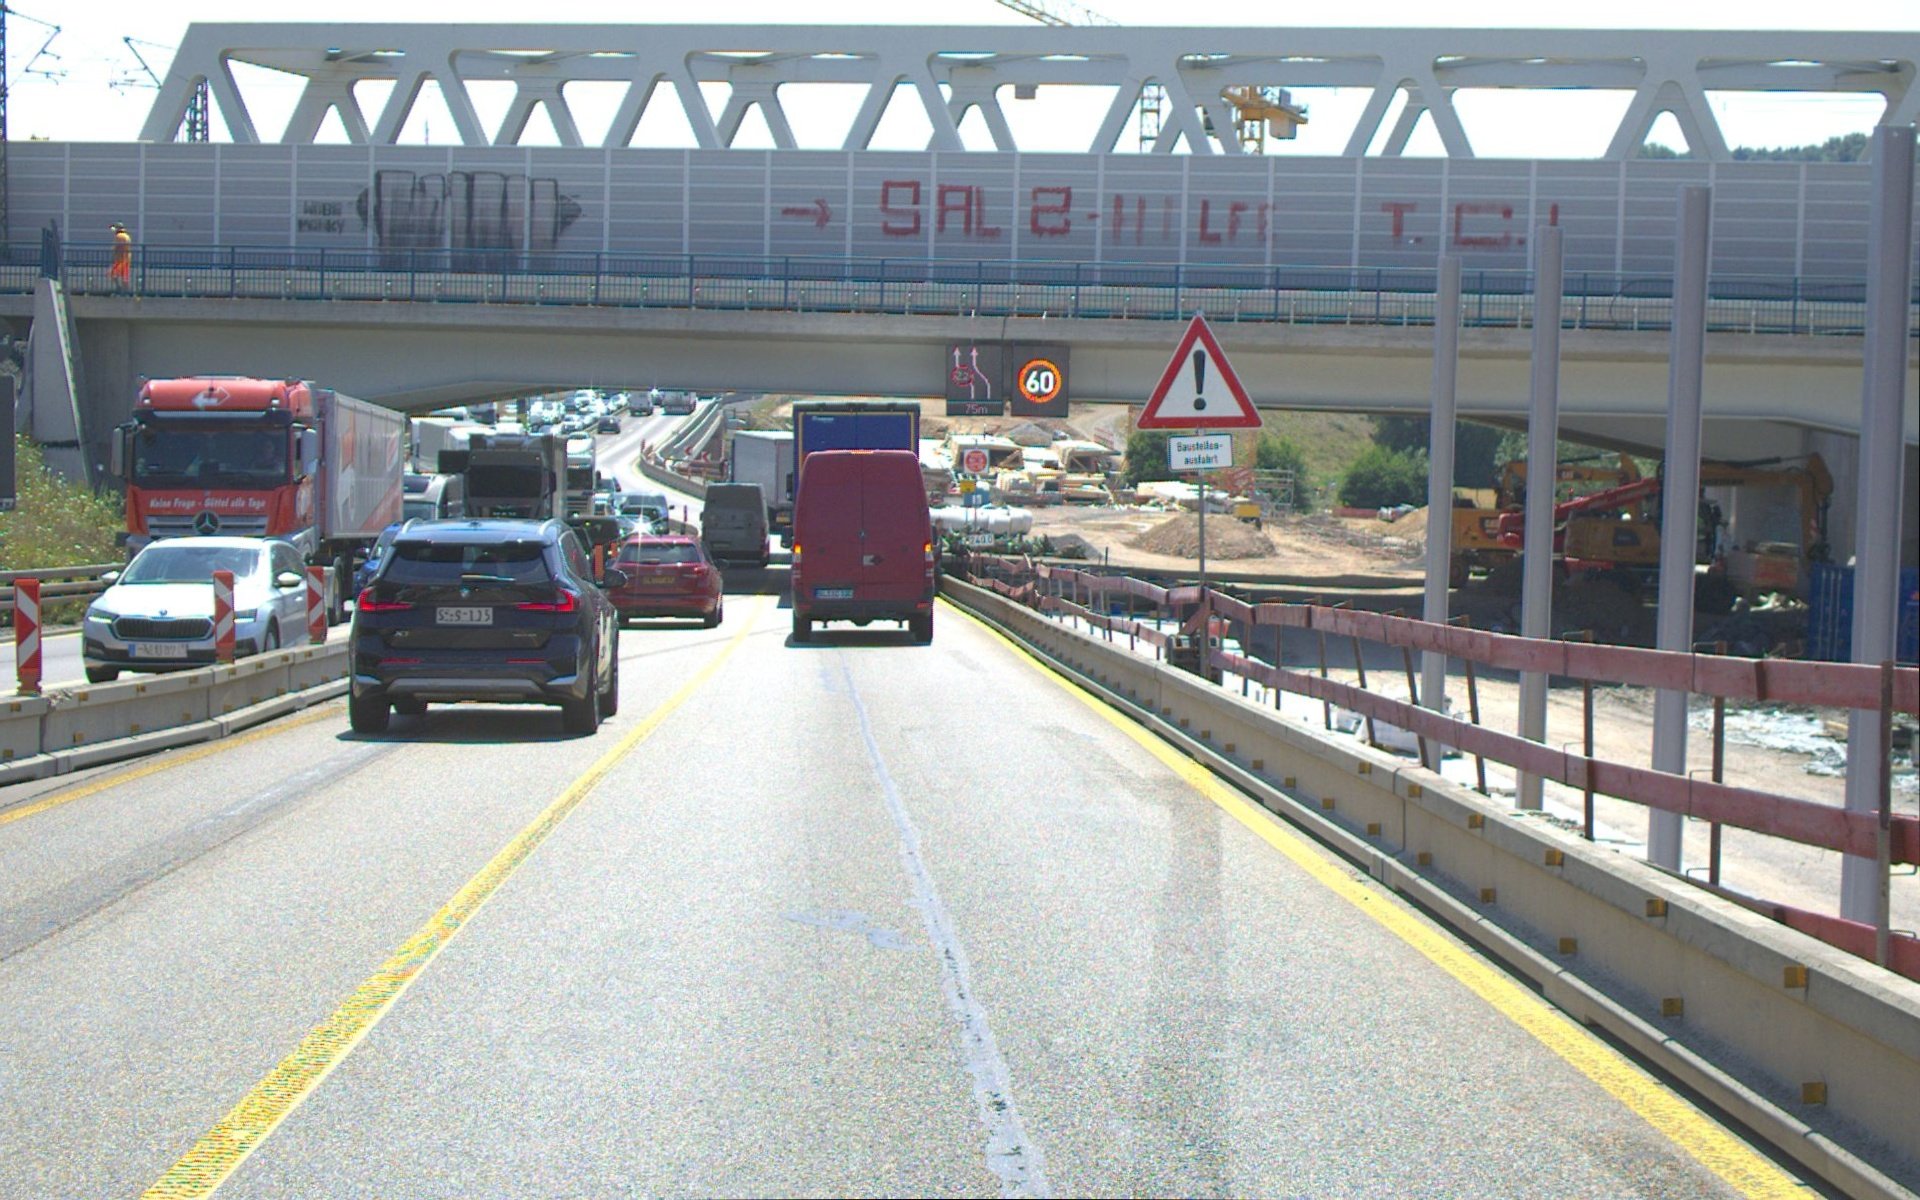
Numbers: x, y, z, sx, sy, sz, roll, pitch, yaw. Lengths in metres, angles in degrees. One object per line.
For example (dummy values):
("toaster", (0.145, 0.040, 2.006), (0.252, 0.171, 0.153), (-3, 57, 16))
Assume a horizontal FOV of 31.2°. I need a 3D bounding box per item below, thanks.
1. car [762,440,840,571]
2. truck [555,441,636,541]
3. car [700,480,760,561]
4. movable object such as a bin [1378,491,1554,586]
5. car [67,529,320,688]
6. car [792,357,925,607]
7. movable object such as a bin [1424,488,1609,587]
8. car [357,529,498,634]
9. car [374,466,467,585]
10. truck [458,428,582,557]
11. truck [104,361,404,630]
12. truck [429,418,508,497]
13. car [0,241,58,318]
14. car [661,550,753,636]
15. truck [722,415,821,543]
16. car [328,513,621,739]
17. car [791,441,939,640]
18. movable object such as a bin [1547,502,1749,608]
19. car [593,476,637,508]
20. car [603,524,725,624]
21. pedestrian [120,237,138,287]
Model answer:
("car", (-5.236, -3.098, 112.773), (2.450, 4.146, 6.861), (0, 2, -3))
("truck", (-14.835, -4.394, 139.191), (2.834, 3.839, 12.916), (1, 2, -8))
("car", (-7.038, -2.439, 105.300), (1.775, 2.432, 4.207), (0, 2, -3))
("movable object such as a bin", (15.575, -1.899, 106.011), (5.147, 2.798, 2.142), (1, 1, 3))
("car", (-7.608, 0.036, 34.463), (1.833, 1.441, 4.156), (1, 2, -4))
("car", (-2.296, -2.524, 74.371), (2.620, 5.014, 10.398), (0, 2, -3))
("movable object such as a bin", (16.419, -1.862, 101.624), (5.147, 2.798, 2.142), (1, 1, 3))
("car", (-7.821, -0.296, 50.742), (1.580, 1.441, 3.664), (1, 2, -2))
("car", (-12.442, -1.743, 79.551), (1.580, 2.645, 5.392), (1, 2, -3))
("truck", (-13.878, -3.397, 109.317), (2.834, 3.839, 12.914), (1, 2, -3))
("truck", (-11.228, -1.683, 56.021), (2.834, 3.839, 12.914), (1, 2, -3))
("truck", (-25.287, -7.255, 176.442), (2.834, 3.839, 12.917), (1, 2, -13))
("car", (-25.322, -8.074, 86.689), (4.555, 1.776, 1.960), (1, 1, 11))
("car", (-5.231, -0.164, 71.338), (1.839, 1.648, 4.166), (0, 2, -4))
("truck", (-8.450, -5.327, 152.563), (2.834, 5.380, 12.916), (1, 2, -10))
("car", (-3.709, 0.129, 26.964), (1.879, 1.612, 4.500), (0, 2, -3))
("car", (-1.398, -0.868, 48.802), (1.988, 2.681, 4.624), (0, 2, -3))
("movable object such as a bin", (18.900, -1.240, 94.592), (5.147, 2.798, 2.142), (1, 1, 3))
("car", (-18.197, -5.674, 181.158), (1.877, 1.650, 4.001), (1, 2, -12))
("car", (-4.719, -0.454, 55.253), (1.775, 1.512, 4.207), (0, 2, -2))
("pedestrian", (-20.449, -8.322, 84.591), (0.336, 1.207, 0.308), (1, 1, 11))
